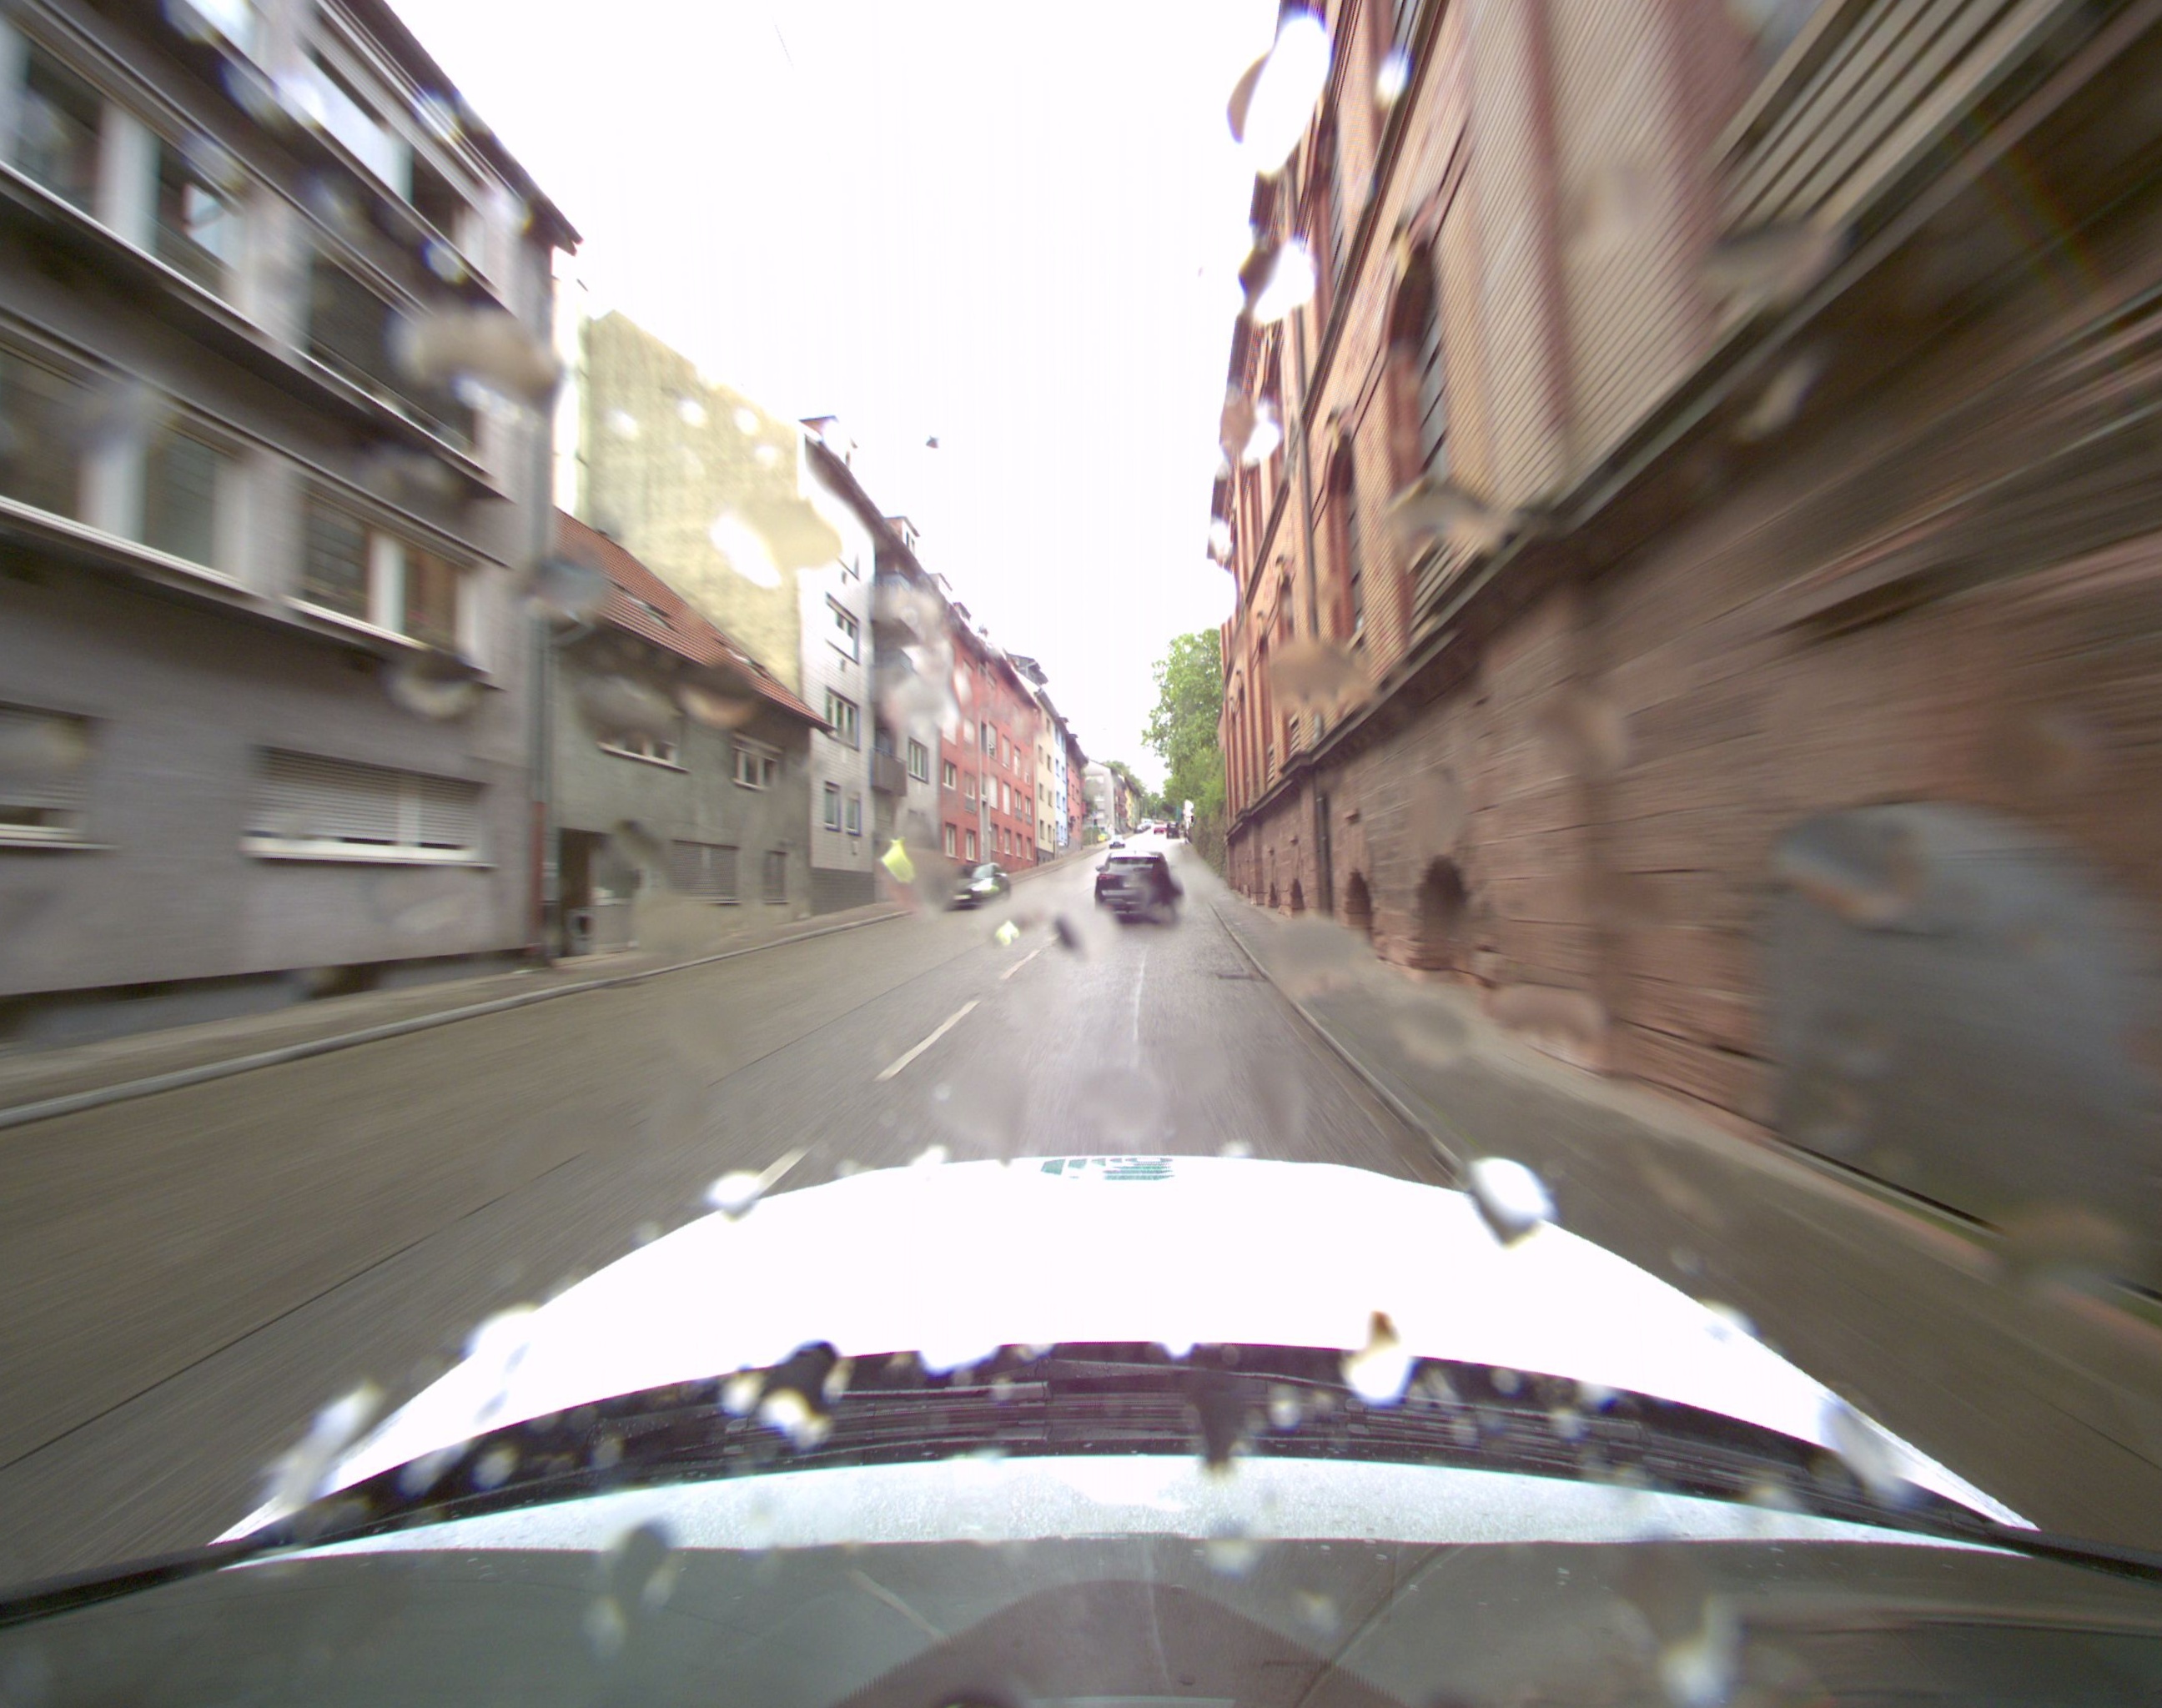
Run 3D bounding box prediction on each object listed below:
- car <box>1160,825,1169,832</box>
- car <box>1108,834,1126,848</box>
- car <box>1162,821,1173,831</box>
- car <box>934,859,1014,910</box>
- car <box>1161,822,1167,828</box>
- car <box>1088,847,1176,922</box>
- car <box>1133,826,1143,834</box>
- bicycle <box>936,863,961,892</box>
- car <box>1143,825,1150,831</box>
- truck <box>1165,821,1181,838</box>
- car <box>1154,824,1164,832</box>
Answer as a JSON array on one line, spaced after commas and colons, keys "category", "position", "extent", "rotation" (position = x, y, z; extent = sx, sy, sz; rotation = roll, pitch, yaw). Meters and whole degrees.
[{"category": "car", "position": [17.386, -5.300, 169.638], "extent": [1.785, 1.510, 4.008], "rotation": [-2, 1, 6]}, {"category": "car", "position": [4.073, -1.454, 92.208], "extent": [1.705, 1.447, 3.928], "rotation": [-2, 2, 6]}, {"category": "car", "position": [14.657, -4.682, 138.225], "extent": [1.785, 1.510, 4.509], "rotation": [-2, 1, 6]}, {"category": "car", "position": [-3.359, 0.938, 26.343], "extent": [1.636, 1.378, 3.857], "rotation": [-4, 0, 6]}, {"category": "car", "position": [25.010, -8.731, 245.377], "extent": [1.785, 1.510, 4.008], "rotation": [-2, 1, 6]}, {"category": "car", "position": [1.258, 0.659, 19.655], "extent": [1.872, 1.594, 3.926], "rotation": [-1, 0, 4]}, {"category": "car", "position": [11.755, -4.912, 168.741], "extent": [1.785, 1.510, 4.008], "rotation": [-2, 1, 6]}, {"category": "bicycle", "position": [-5.514, 0.952, 33.935], "extent": [0.496, 1.107, 1.804], "rotation": [-2, 1, 7]}, {"category": "car", "position": [17.105, -6.725, 213.075], "extent": [1.785, 1.510, 4.008], "rotation": [-2, 1, 6]}, {"category": "truck", "position": [13.997, -3.701, 123.403], "extent": [2.277, 2.440, 4.461], "rotation": [-2, 1, 6]}, {"category": "car", "position": [14.965, -5.032, 156.828], "extent": [1.785, 1.510, 4.008], "rotation": [-2, 1, 6]}]
